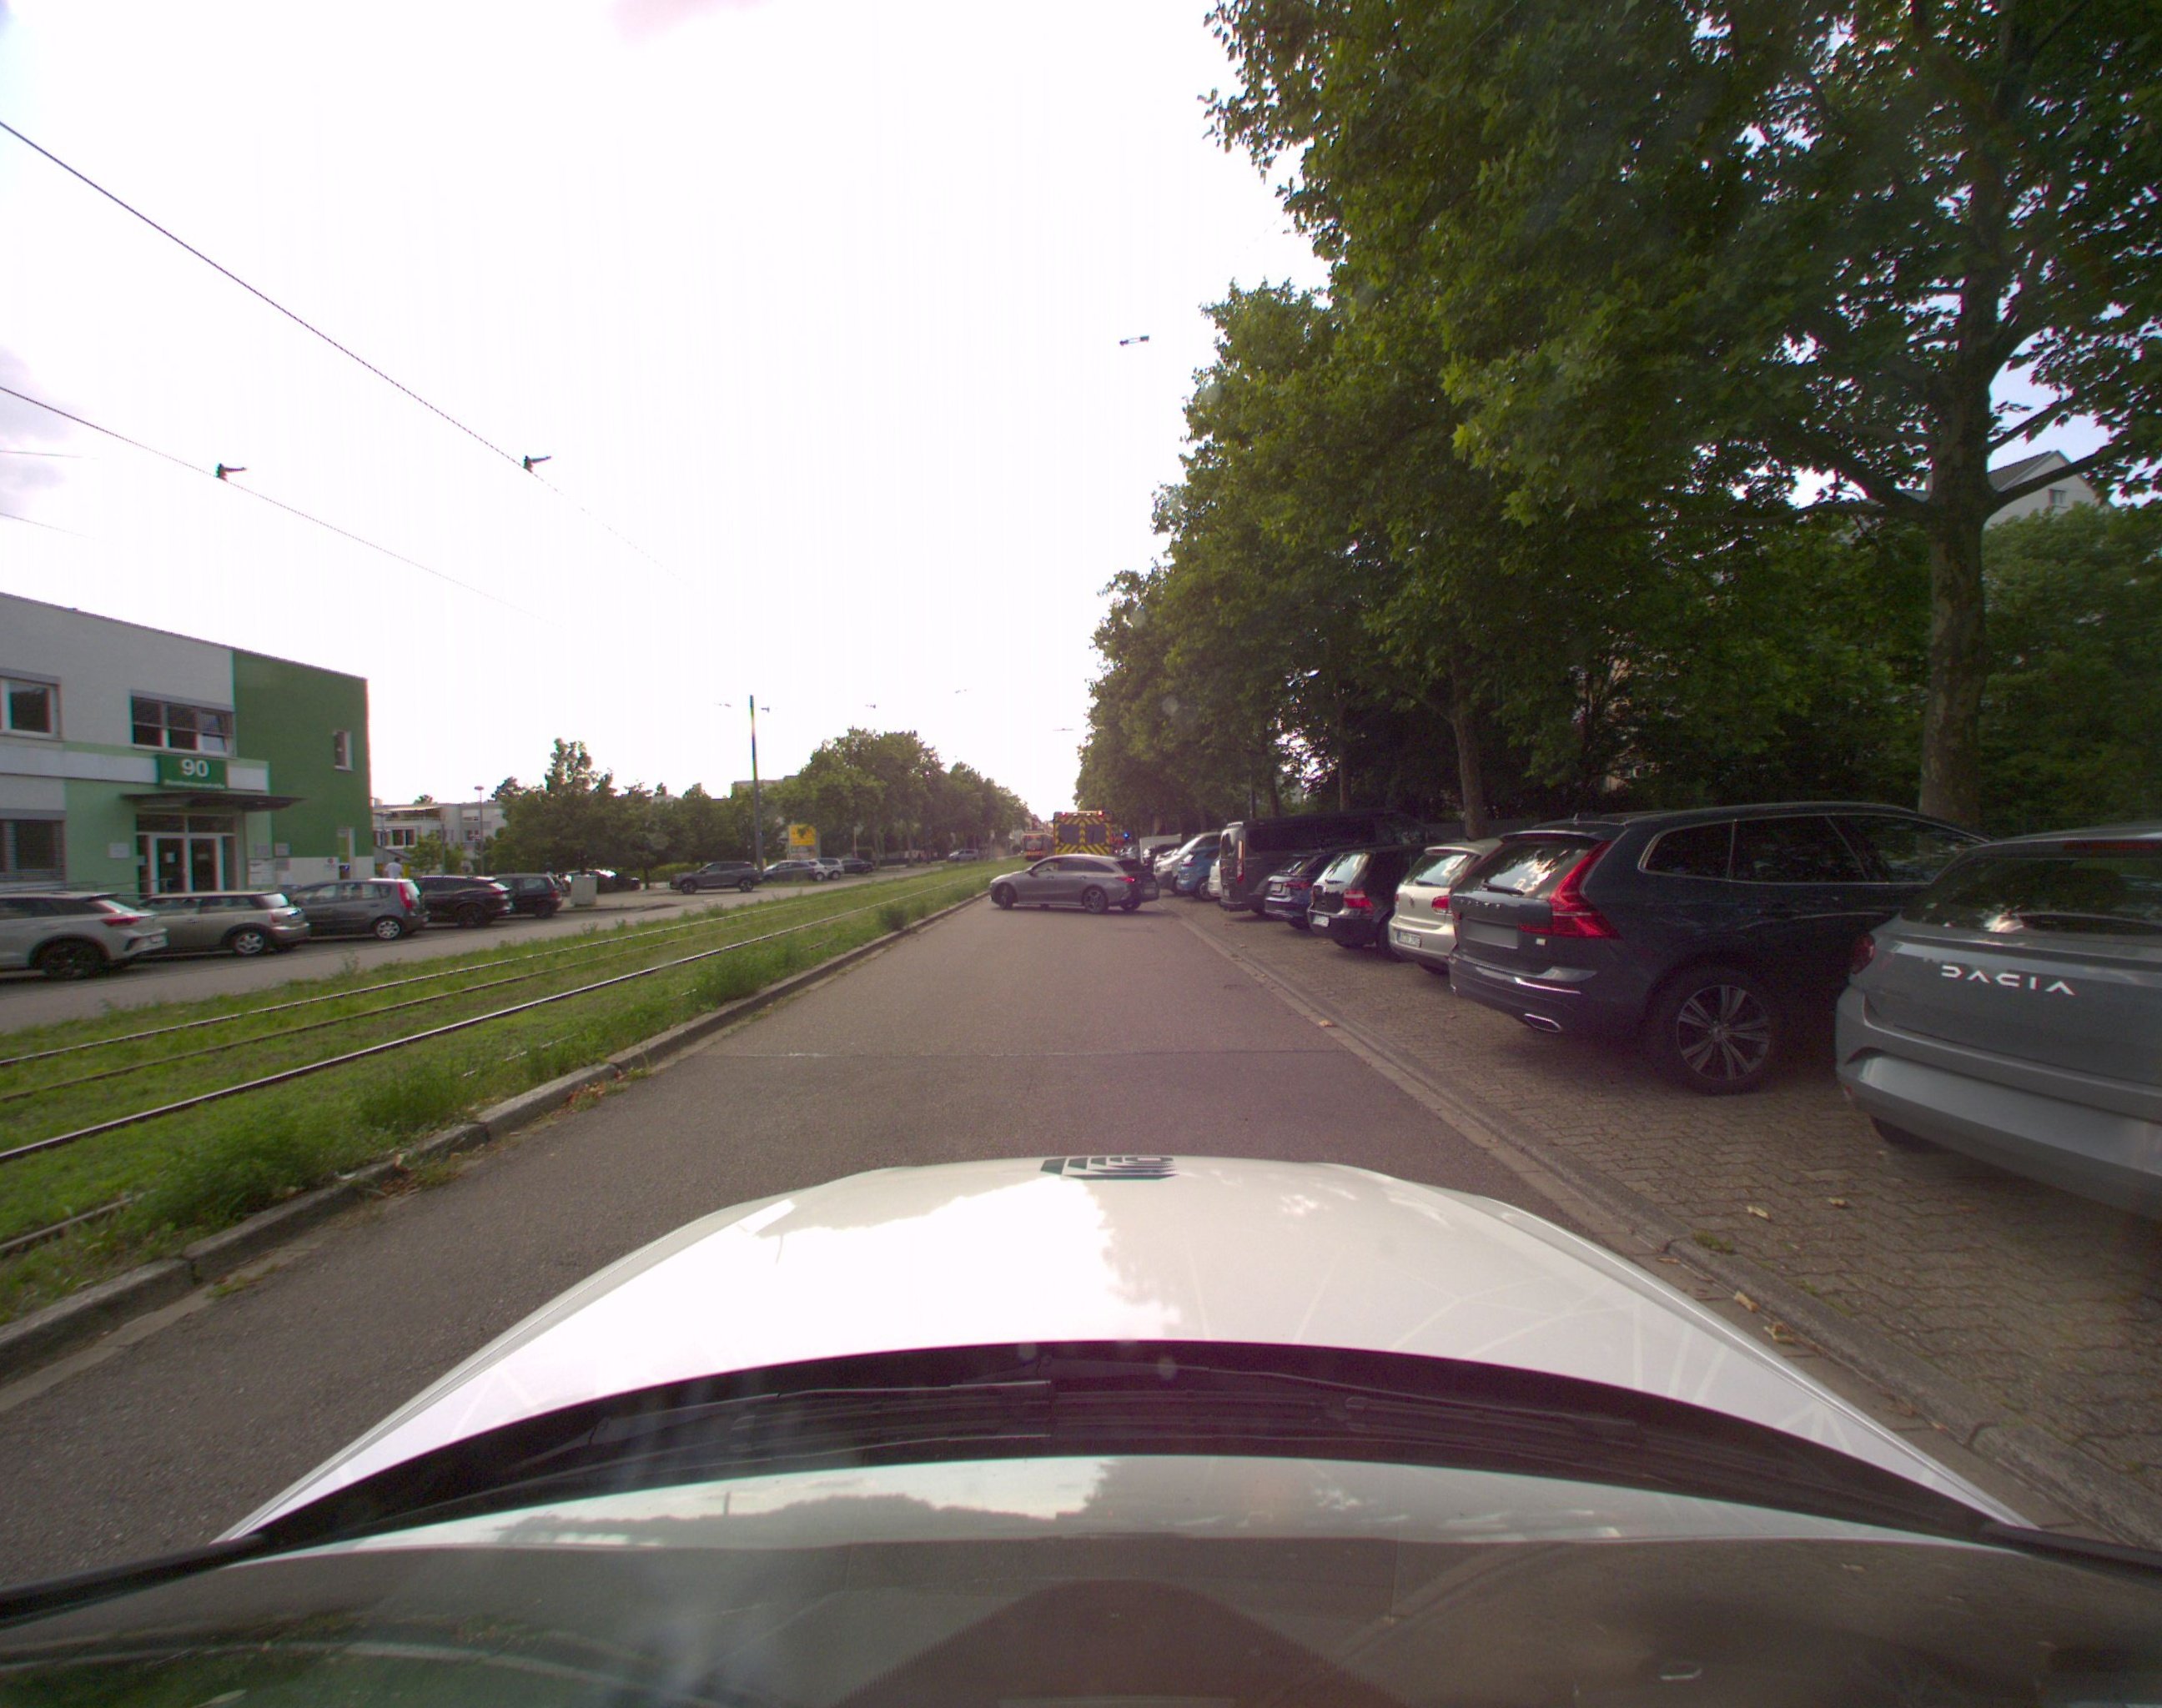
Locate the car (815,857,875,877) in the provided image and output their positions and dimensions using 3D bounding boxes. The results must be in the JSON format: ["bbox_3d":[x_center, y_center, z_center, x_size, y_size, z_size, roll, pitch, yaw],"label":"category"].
[{"bbox_3d":[-18.840,1.008,65.085,4.256,1.482,1.861,-1,0,-39],"label":"car"}]

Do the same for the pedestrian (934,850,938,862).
[{"bbox_3d":[-21.807,0.317,122.732,0.465,1.828,0.422,-2,0,-2],"label":"pedestrian"}]

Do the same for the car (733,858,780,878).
[{"bbox_3d":[-29.629,1.262,74.415,3.949,1.750,2.013,0,0,31],"label":"car"}]

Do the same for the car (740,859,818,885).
[{"bbox_3d":[-18.861,1.108,50.930,4.253,1.482,1.863,-1,0,-36],"label":"car"}]

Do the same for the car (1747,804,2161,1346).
[{"bbox_3d":[5.218,0.518,2.789,4.364,1.501,1.757,-3,1,2],"label":"car"}]

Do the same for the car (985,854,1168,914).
[{"bbox_3d":[-0.170,0.696,20.763,4.410,1.385,1.778,0,0,33],"label":"car"}]

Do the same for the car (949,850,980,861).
[{"bbox_3d":[-18.549,0.222,129.618,4.651,1.633,1.861,-3,1,-39],"label":"car"}]

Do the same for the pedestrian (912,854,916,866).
[{"bbox_3d":[-21.204,0.769,103.338,0.420,1.473,0.467,-2,0,-5],"label":"pedestrian"}]

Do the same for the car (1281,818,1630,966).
[{"bbox_3d":[4.966,0.447,11.022,3.967,1.605,1.750,-3,0,-11],"label":"car"}]

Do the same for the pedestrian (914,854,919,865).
[{"bbox_3d":[-21.259,0.750,105.185,0.417,1.414,0.470,-2,0,25],"label":"pedestrian"}]

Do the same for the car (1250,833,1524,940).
[{"bbox_3d":[5.062,0.513,13.838,3.953,1.494,1.755,-3,0,-1],"label":"car"}]

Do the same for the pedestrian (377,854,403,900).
[{"bbox_3d":[-28.318,0.938,33.366,0.544,1.828,0.508,-2,0,-2],"label":"pedestrian"}]

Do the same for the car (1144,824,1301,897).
[{"bbox_3d":[4.441,0.195,25.978,4.537,2.000,1.853,-3,0,-4],"label":"car"}]

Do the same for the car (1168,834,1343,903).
[{"bbox_3d":[4.954,0.386,23.443,4.538,1.660,1.853,-3,0,-5],"label":"car"}]

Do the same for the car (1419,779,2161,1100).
[{"bbox_3d":[4.837,0.462,5.466,4.364,1.639,1.757,-3,0,2],"label":"car"}]

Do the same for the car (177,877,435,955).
[{"bbox_3d":[-18.966,1.450,20.249,4.247,1.482,1.866,-3,1,-29],"label":"car"}]

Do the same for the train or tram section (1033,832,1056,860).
[{"bbox_3d":[-4.952,-1.080,111.375,2.504,3.584,7.444,-3,0,0],"label":"train or tram section"}]

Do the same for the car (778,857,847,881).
[{"bbox_3d":[-18.741,1.023,56.880,4.253,1.482,1.863,-1,0,-36],"label":"car"}]

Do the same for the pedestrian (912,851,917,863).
[{"bbox_3d":[-22.924,0.423,112.152,0.631,1.551,0.622,-2,0,-3],"label":"pedestrian"}]

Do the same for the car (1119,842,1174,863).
[{"bbox_3d":[5.639,-0.136,70.614,4.537,1.608,1.853,-3,0,-4],"label":"car"}]

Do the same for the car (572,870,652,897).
[{"bbox_3d":[-29.405,1.841,51.108,3.970,1.565,1.779,0,-1,2],"label":"car"}]

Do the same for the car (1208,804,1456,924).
[{"bbox_3d":[5.102,0.182,16.977,4.532,2.123,1.855,-3,0,-1],"label":"car"}]

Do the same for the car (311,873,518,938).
[{"bbox_3d":[-18.869,1.397,23.334,4.247,1.482,1.866,-3,1,-29],"label":"car"}]

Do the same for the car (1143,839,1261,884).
[{"bbox_3d":[5.020,0.305,34.046,4.537,1.608,1.853,-3,0,-4],"label":"car"}]

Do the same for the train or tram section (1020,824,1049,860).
[{"bbox_3d":[-5.008,-1.220,89.057,2.504,3.584,7.444,-3,0,0],"label":"train or tram section"}]

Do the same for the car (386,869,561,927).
[{"bbox_3d":[-19.412,1.360,26.300,4.247,1.482,1.866,-3,1,-29],"label":"car"}]

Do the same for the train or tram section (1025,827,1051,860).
[{"bbox_3d":[-4.997,-1.173,96.488,2.504,3.584,7.444,-3,0,0],"label":"train or tram section"}]

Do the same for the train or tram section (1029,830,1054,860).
[{"bbox_3d":[-4.978,-1.126,103.933,2.504,3.584,7.444,-3,0,0],"label":"train or tram section"}]

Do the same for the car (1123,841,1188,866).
[{"bbox_3d":[5.505,-0.070,60.763,4.537,1.608,1.853,-3,0,-4],"label":"car"}]

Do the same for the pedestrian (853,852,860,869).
[{"bbox_3d":[-23.197,0.659,84.246,0.465,1.676,0.603,-2,0,-2],"label":"pedestrian"}]

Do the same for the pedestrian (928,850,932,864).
[{"bbox_3d":[-18.419,0.385,99.314,0.420,1.730,0.467,-2,0,-5],"label":"pedestrian"}]

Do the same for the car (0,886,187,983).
[{"bbox_3d":[-19.111,1.460,14.266,4.252,1.482,1.863,-3,1,-34],"label":"car"}]

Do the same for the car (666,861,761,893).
[{"bbox_3d":[-18.353,1.121,40.816,4.241,1.482,1.868,-1,0,-25],"label":"car"}]

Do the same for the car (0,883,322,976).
[{"bbox_3d":[-19.224,1.494,17.209,4.247,1.482,1.866,-3,1,-29],"label":"car"}]

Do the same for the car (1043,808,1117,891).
[{"bbox_3d":[0.077,-0.187,32.585,2.631,2.966,6.302,1,0,2],"label":"car"}]

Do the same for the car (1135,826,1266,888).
[{"bbox_3d":[4.425,0.102,30.572,4.537,2.043,1.853,-3,0,-4],"label":"car"}]

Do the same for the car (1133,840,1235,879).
[{"bbox_3d":[4.909,0.250,39.203,4.537,1.608,1.853,-3,0,-4],"label":"car"}]

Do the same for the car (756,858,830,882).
[{"bbox_3d":[-19.008,1.031,53.849,4.253,1.482,1.863,-1,0,-36],"label":"car"}]

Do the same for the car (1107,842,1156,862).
[{"bbox_3d":[4.852,-0.212,78.846,4.537,1.608,1.853,-3,0,-4],"label":"car"}]

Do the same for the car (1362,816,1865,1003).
[{"bbox_3d":[5.169,0.499,8.302,3.953,1.494,1.756,-3,0,-1],"label":"car"}]

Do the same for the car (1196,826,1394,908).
[{"bbox_3d":[5.381,0.314,20.912,4.532,1.766,1.855,-3,0,-1],"label":"car"}]
